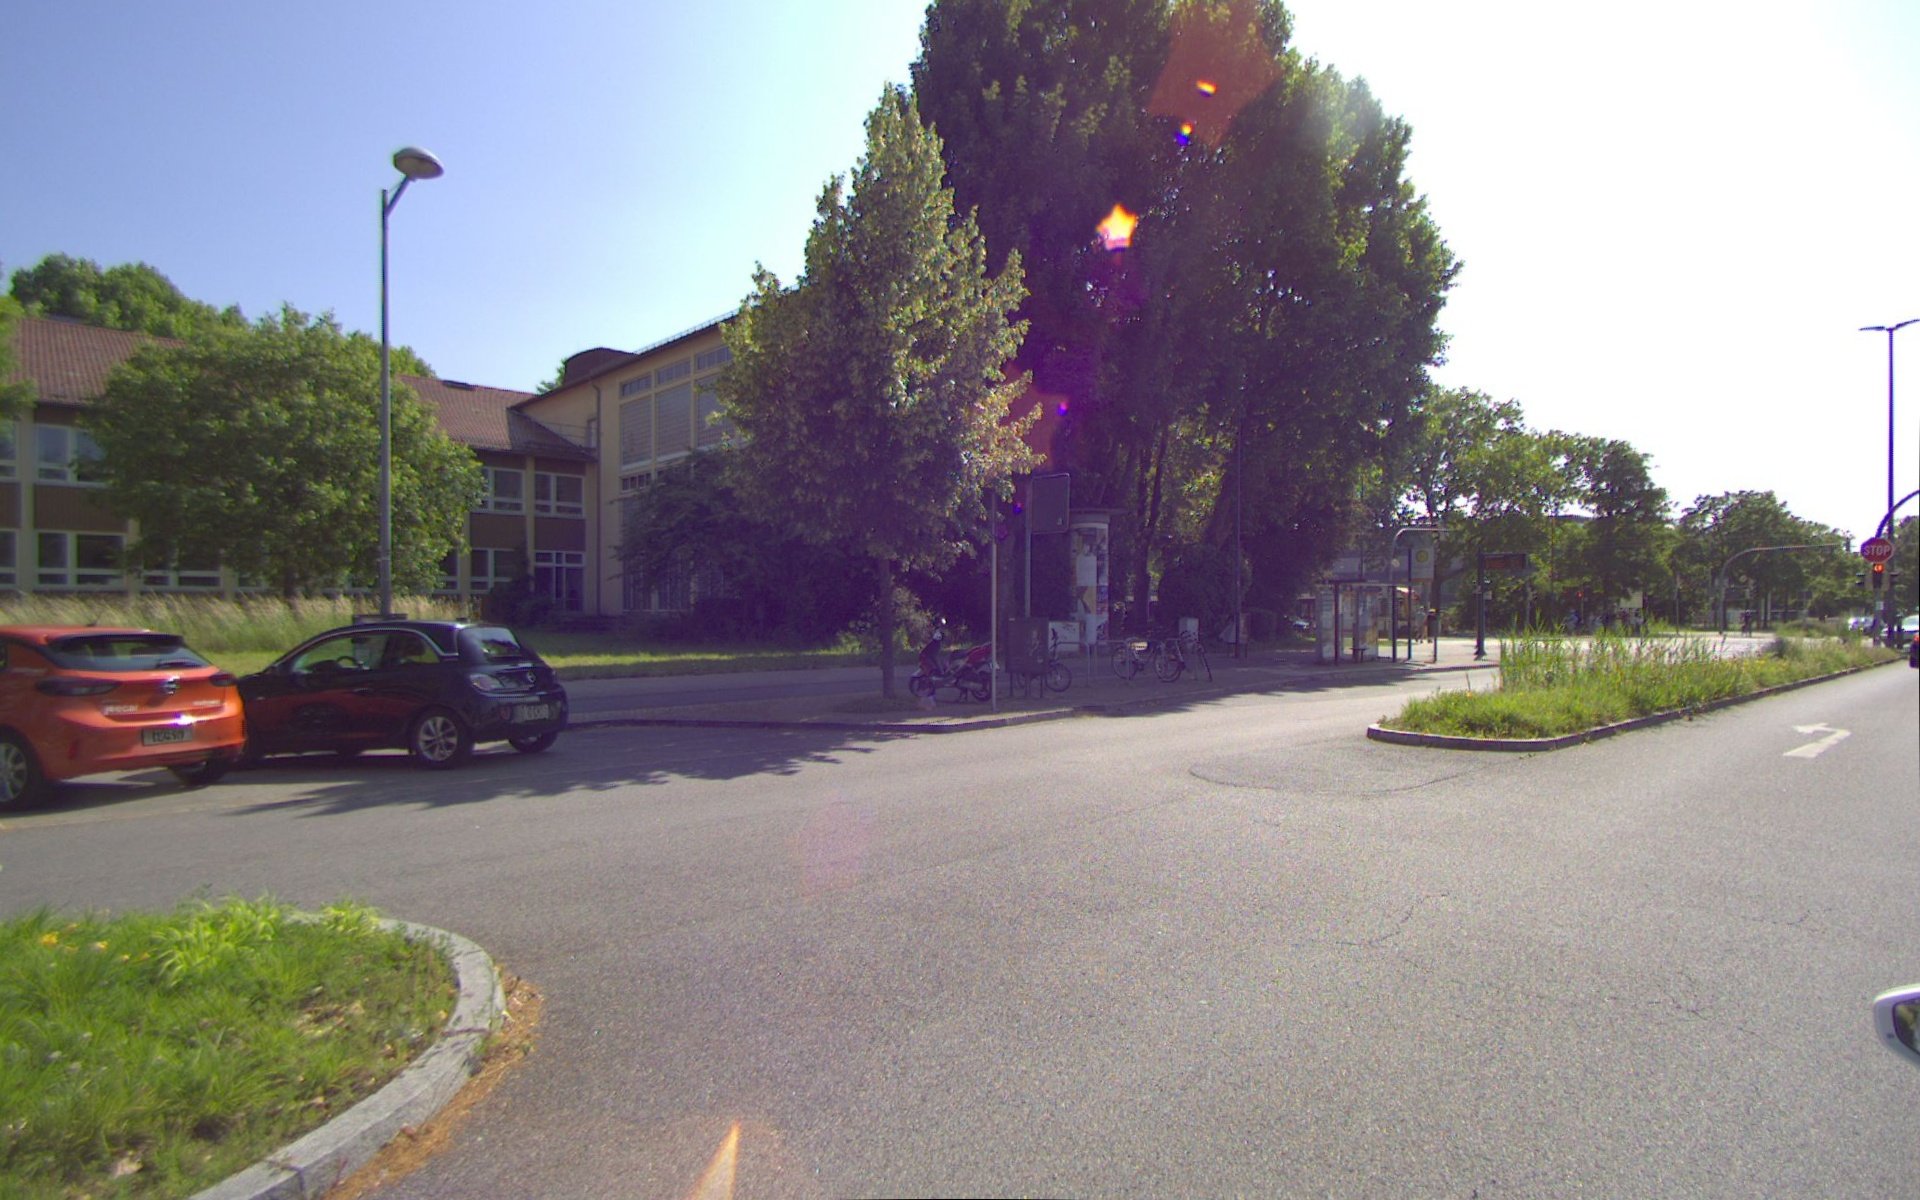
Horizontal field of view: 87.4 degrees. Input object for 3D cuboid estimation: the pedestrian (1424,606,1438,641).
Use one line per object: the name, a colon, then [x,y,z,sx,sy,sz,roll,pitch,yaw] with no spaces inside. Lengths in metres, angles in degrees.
pedestrian: [24.068,1.201,51.341,0.558,1.749,0.732,0,-1,31]

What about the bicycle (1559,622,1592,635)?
bicycle: [44.505,2.064,72.593,1.977,0.895,0.524,0,-1,42]

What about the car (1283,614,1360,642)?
car: [18.924,1.447,52.692,1.626,1.395,3.465,1,-1,-43]

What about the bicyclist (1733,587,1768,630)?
bicyclist: [55.066,0.618,69.976,2.335,2.970,1.585,1,-1,-42]

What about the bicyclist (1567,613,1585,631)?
bicyclist: [44.506,1.561,72.610,1.040,1.292,0.490,0,0,41]

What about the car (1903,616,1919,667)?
car: [28.664,1.191,29.000,1.973,1.417,3.974,0,-1,45]

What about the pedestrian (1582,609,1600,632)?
pedestrian: [46.225,1.505,73.577,0.927,1.633,0.654,0,0,-18]

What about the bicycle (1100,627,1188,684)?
bicycle: [3.871,1.144,21.247,0.687,1.121,1.830,0,0,-40]

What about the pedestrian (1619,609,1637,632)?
pedestrian: [48.008,1.498,72.199,0.927,1.633,0.665,0,0,-18]

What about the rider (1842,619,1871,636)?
rider: [64.052,1.955,71.734,2.679,1.212,1.378,1,-1,-44]

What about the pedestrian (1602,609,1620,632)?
pedestrian: [46.615,1.484,71.966,0.927,1.633,0.654,0,0,-18]

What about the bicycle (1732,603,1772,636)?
bicycle: [55.644,1.359,70.517,3.970,2.299,1.585,1,-1,-42]

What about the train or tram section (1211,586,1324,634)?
train or tram section: [22.619,0.730,74.087,3.097,3.376,7.485,1,-1,-42]

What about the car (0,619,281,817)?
car: [-8.221,0.899,8.745,3.765,1.442,1.717,0,-1,13]

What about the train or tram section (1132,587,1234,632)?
train or tram section: [17.584,0.749,79.631,3.097,3.376,7.485,1,-1,-42]

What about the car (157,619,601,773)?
car: [-5.997,0.957,10.618,3.698,1.442,1.857,-1,-2,8]

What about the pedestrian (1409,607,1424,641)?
pedestrian: [23.490,1.217,51.672,0.649,1.749,0.751,0,-1,31]

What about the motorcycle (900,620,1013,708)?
motorcycle: [-0.081,0.984,16.050,1.825,1.301,0.689,0,0,42]

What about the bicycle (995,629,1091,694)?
bicycle: [1.504,1.100,18.553,0.687,1.106,1.830,0,0,-40]

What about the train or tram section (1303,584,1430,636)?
train or tram section: [27.644,0.674,68.538,3.097,3.376,7.485,1,-1,-42]

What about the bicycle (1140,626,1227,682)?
bicycle: [4.854,1.160,21.949,0.687,1.137,1.830,0,0,-40]

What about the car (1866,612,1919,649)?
car: [43.088,1.376,46.074,4.486,1.631,1.873,1,-1,-43]

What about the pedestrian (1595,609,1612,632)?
pedestrian: [46.725,1.500,72.946,0.927,1.633,0.654,0,0,-18]

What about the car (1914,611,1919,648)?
car: [45.464,1.315,45.123,4.327,1.660,1.992,0,-1,-19]

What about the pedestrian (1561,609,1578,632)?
pedestrian: [45.065,1.509,74.247,0.927,1.633,0.654,0,0,-18]
